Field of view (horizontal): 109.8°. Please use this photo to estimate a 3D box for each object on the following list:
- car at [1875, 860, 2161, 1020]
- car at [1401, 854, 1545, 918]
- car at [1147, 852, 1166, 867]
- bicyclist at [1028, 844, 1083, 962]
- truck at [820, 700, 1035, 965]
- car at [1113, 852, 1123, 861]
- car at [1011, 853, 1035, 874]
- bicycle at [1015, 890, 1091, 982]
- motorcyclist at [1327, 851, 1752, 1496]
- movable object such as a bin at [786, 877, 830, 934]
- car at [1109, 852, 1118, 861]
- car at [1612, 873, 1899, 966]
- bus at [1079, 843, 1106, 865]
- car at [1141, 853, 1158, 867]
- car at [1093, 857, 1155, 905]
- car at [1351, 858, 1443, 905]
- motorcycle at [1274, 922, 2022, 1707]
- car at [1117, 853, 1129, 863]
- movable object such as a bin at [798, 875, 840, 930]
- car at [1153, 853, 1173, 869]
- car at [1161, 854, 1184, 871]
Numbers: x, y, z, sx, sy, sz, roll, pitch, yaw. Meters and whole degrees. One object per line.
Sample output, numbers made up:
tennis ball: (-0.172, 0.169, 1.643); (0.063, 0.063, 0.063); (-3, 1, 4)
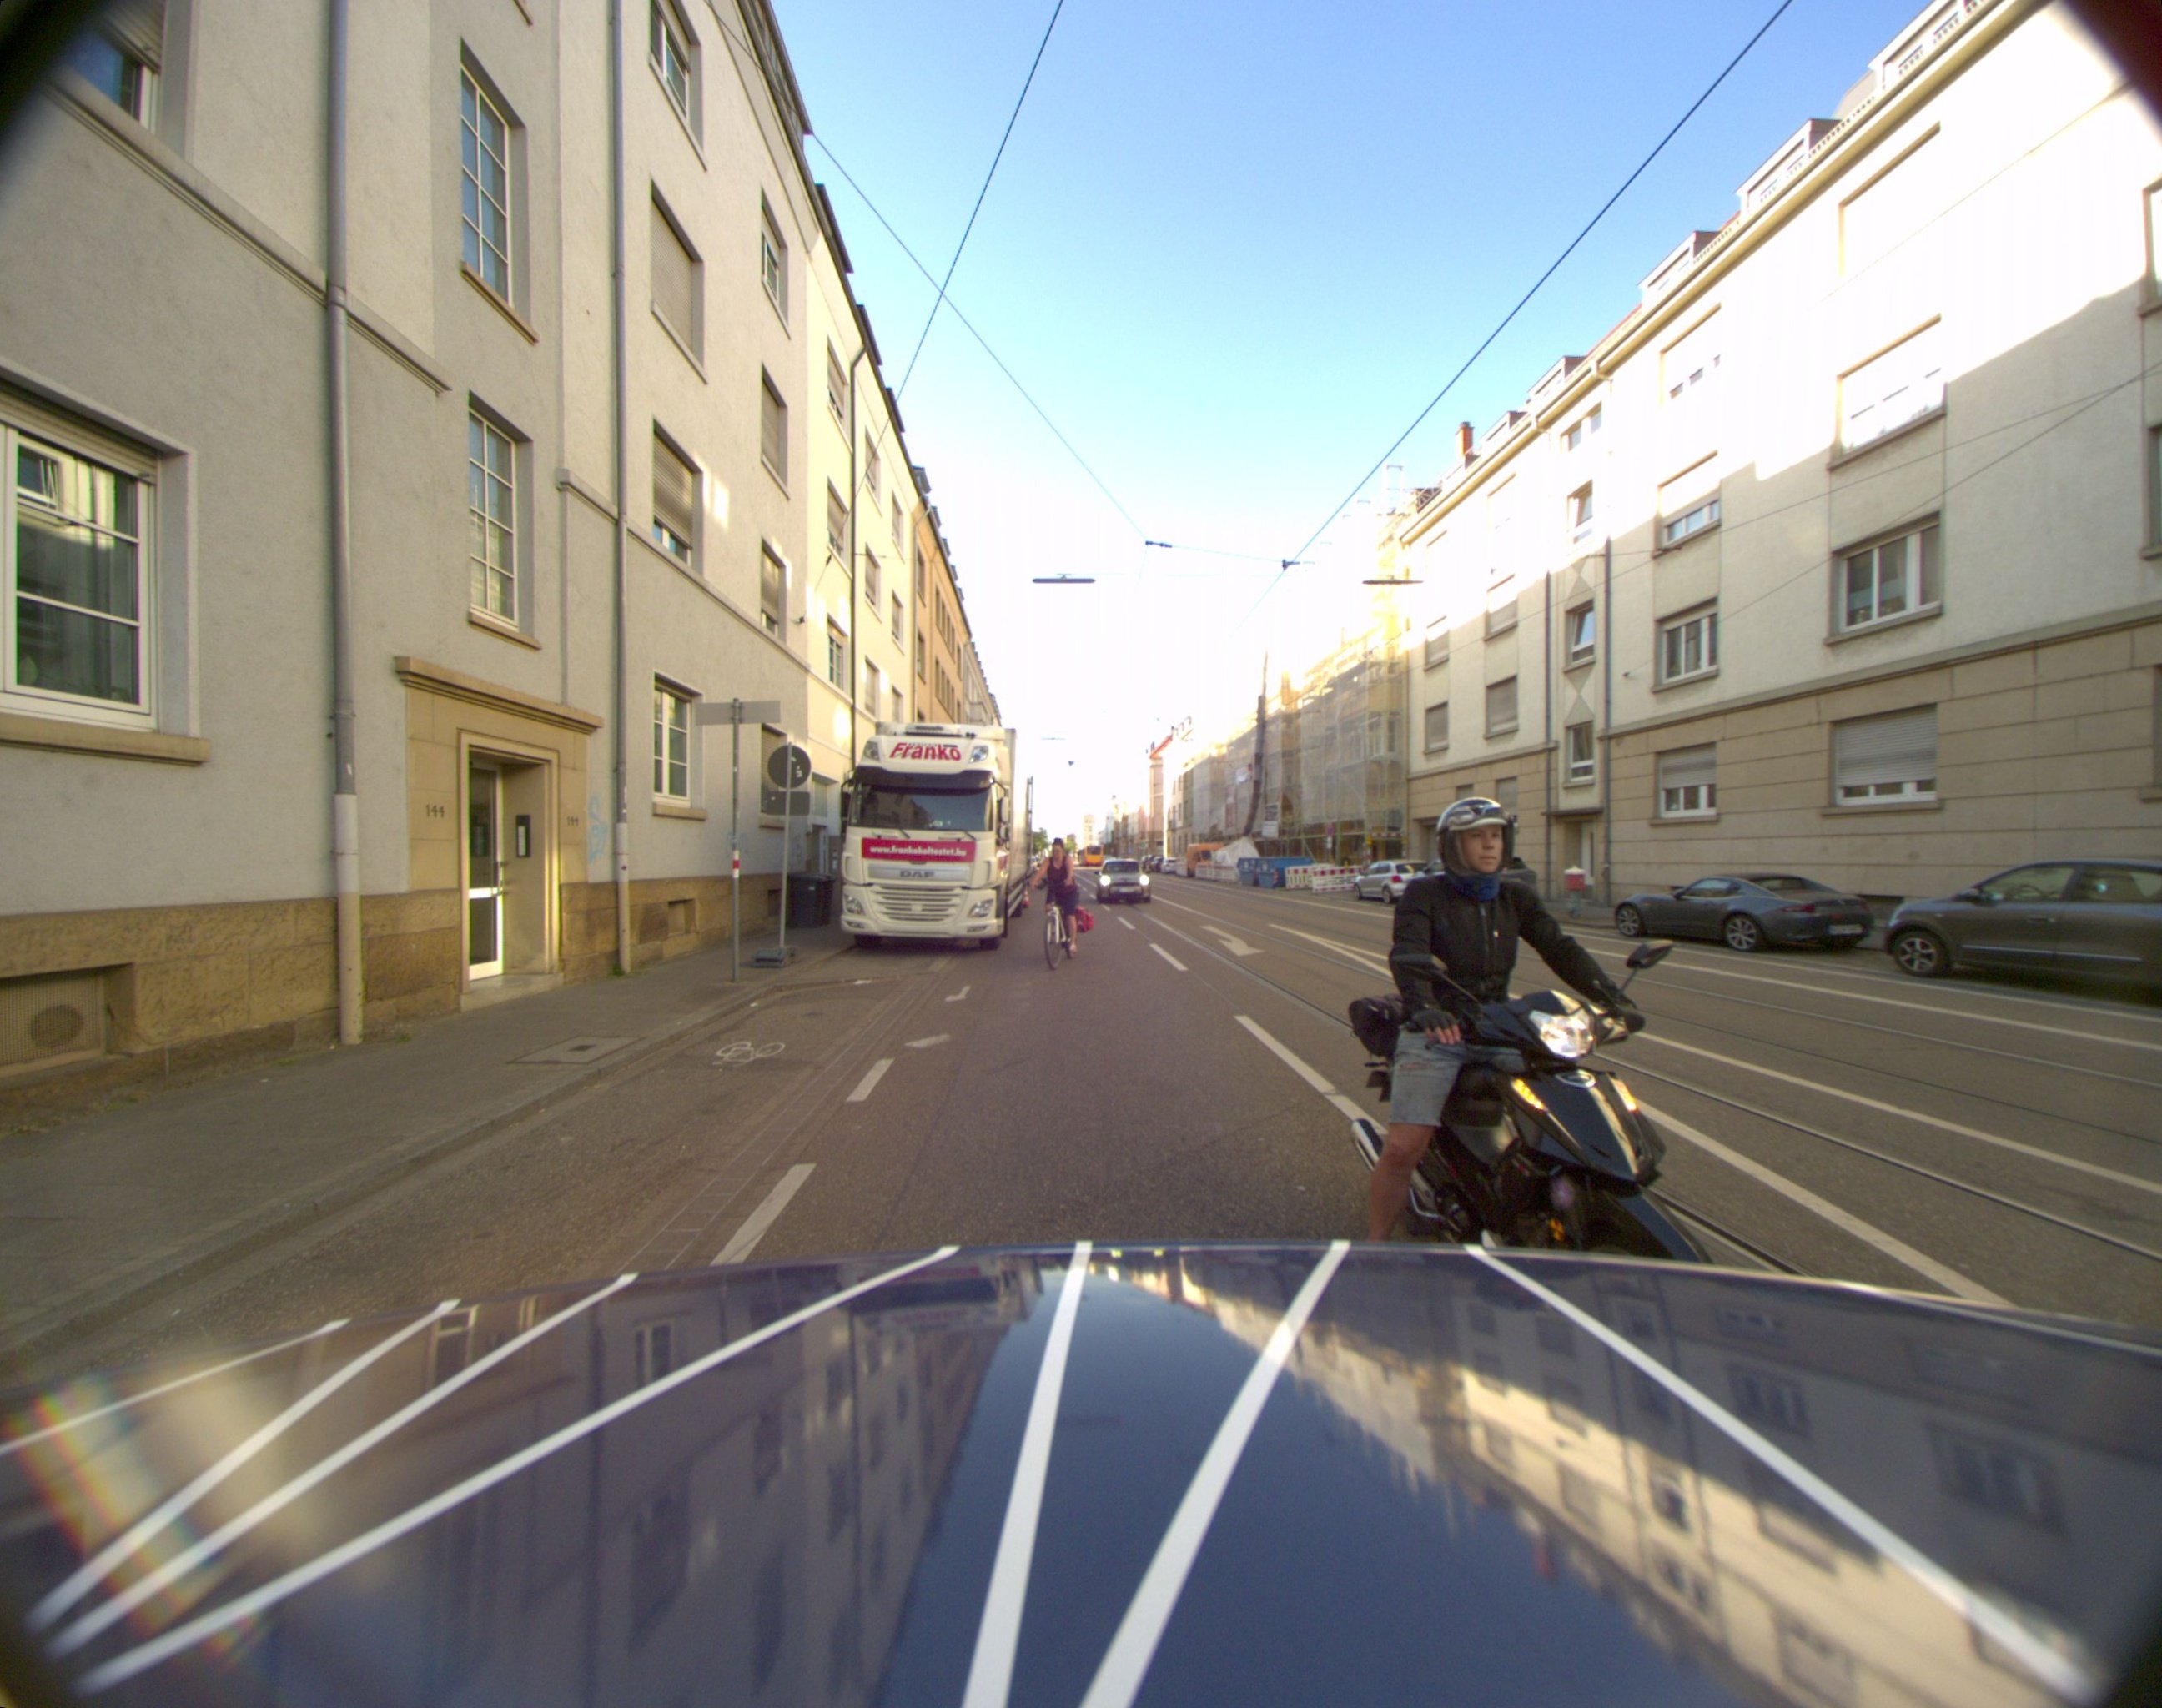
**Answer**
car: (11.416, 0.859, 8.310); (1.679, 1.519, 3.539); (-1, 0, -3)
car: (10.809, 0.805, 21.321); (1.696, 1.590, 4.206); (-1, 0, -3)
car: (8.240, 0.615, 83.173); (1.684, 1.573, 3.966); (-2, 0, 1)
bicyclist: (-0.351, 0.670, 10.815); (0.617, 1.620, 0.760); (0, 1, 12)
truck: (-2.627, -0.323, 17.170); (2.782, 3.903, 11.816); (0, 0, -2)
car: (6.523, 0.464, 134.391); (1.684, 1.478, 3.966); (-2, 0, 1)
car: (-4.515, 0.744, 59.147); (1.685, 1.522, 4.148); (-2, 0, -3)
bicycle: (-0.356, 1.104, 10.807); (0.617, 1.097, 1.888); (0, 0, 12)
motorcyclist: (1.308, 0.815, 2.380); (0.791, 1.645, 0.900); (0, 1, 1)
movable object such as a bin: (-5.384, 1.005, 15.029); (0.666, 1.087, 0.570); (0, 1, -2)
car: (5.949, 0.443, 139.334); (1.684, 1.478, 3.966); (-2, 0, 1)
car: (11.179, 0.999, 12.972); (1.520, 1.227, 3.685); (-1, 0, -3)
bus: (1.638, -0.055, 118.260); (2.755, 3.095, 19.156); (0, 0, -3)
car: (7.928, 0.653, 87.870); (1.684, 1.478, 3.966); (-2, 0, 1)
car: (1.380, 0.862, 25.903); (1.685, 1.454, 4.148); (-2, 0, -3)
car: (10.608, 0.880, 25.769); (1.543, 1.404, 3.510); (-1, 0, -3)
motorcycle: (1.308, 0.972, 2.510); (0.791, 1.284, 2.273); (0, 0, 1)
car: (6.591, 0.622, 118.625); (1.684, 1.478, 3.966); (-2, 0, 1)
movable object such as a bin: (-5.401, 0.996, 15.698); (0.666, 1.087, 0.570); (0, 1, -2)
car: (8.261, 0.704, 76.800); (1.684, 1.478, 3.966); (-2, 0, 1)
car: (8.567, 0.759, 71.103); (1.684, 1.478, 3.966); (-2, 0, 1)
